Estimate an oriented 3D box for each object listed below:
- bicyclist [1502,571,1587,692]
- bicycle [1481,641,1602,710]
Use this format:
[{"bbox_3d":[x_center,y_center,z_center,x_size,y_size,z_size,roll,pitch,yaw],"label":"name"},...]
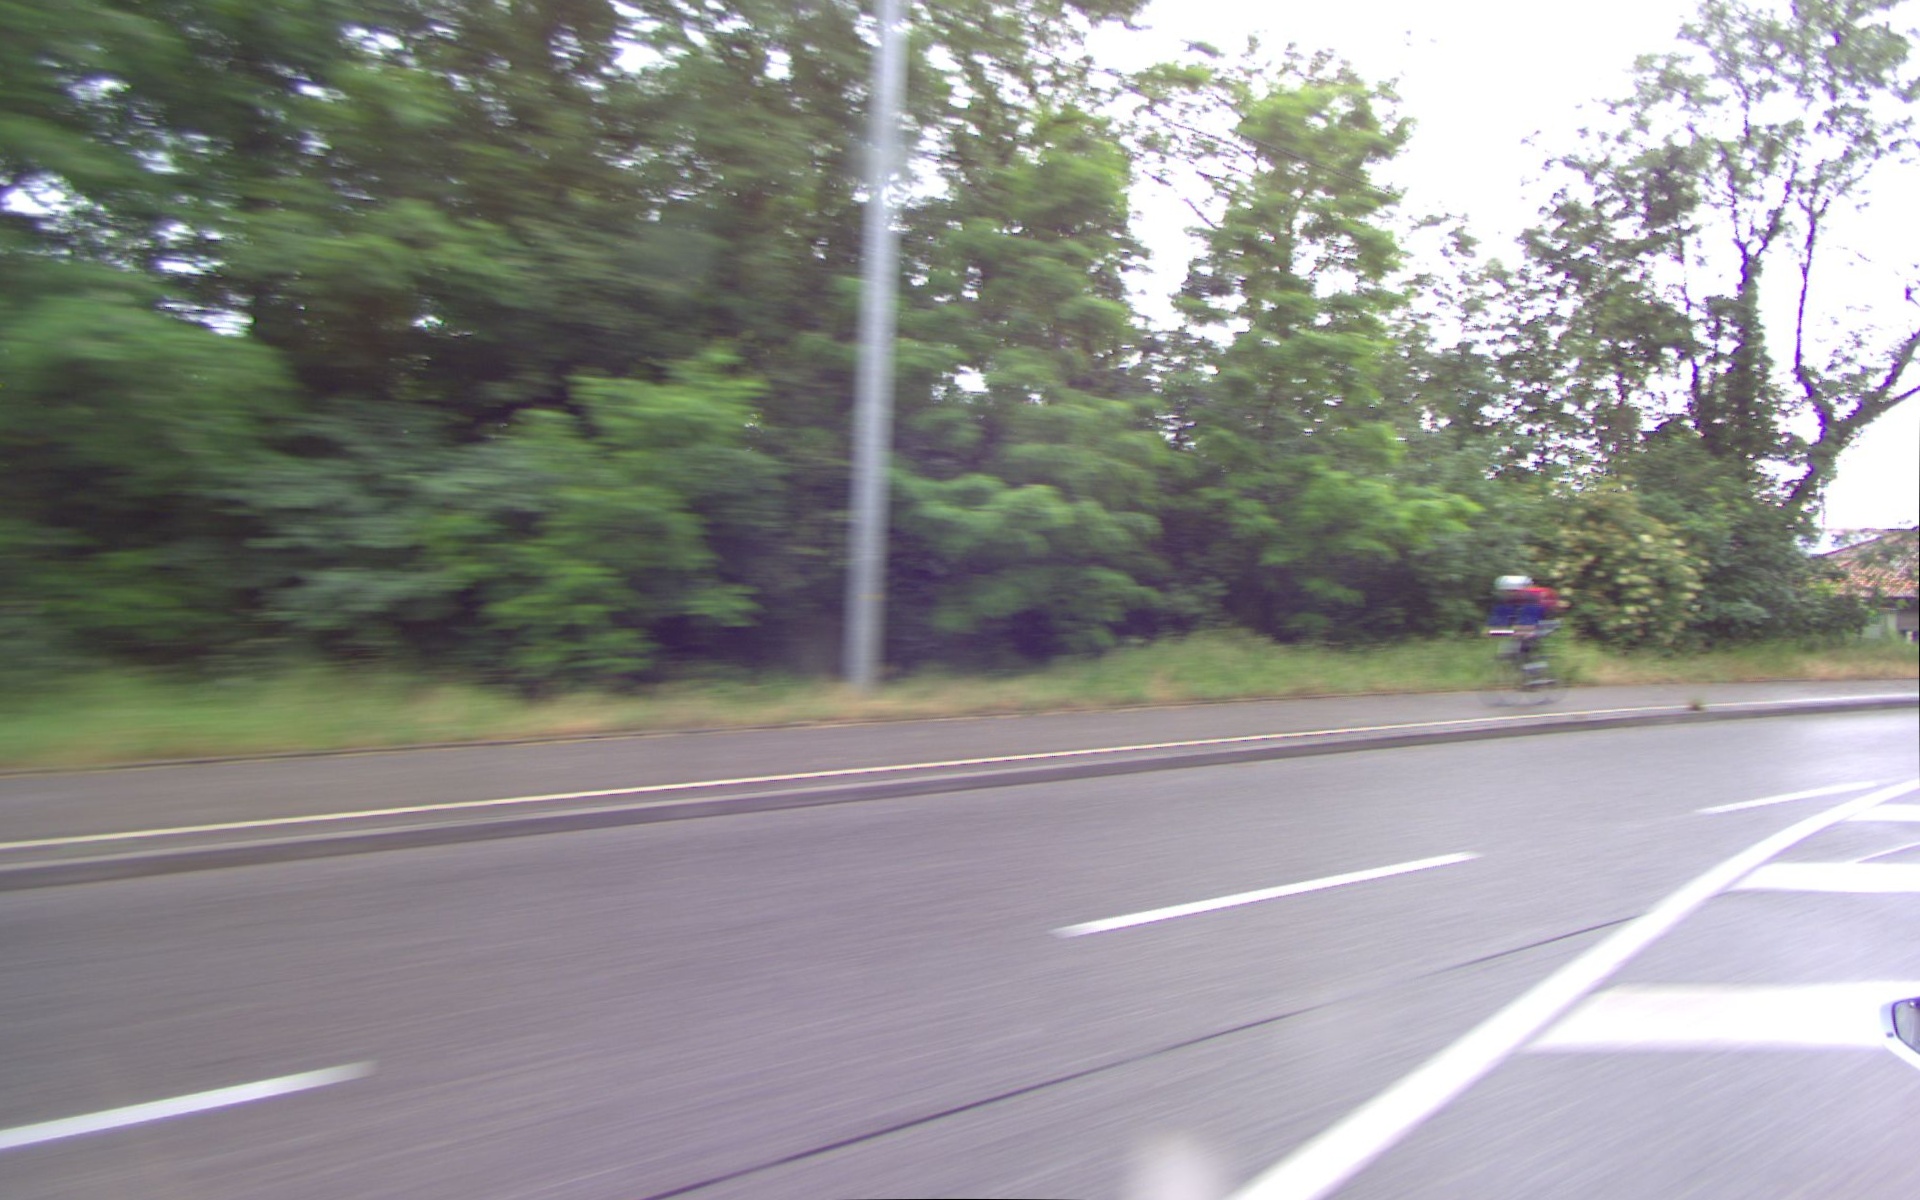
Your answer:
[{"bbox_3d":[7.975,0.428,13.692,1.281,1.595,0.334,1,1,-28],"label":"bicyclist"},{"bbox_3d":[7.945,1.005,13.694,2.066,0.860,0.354,1,1,-27],"label":"bicycle"}]
